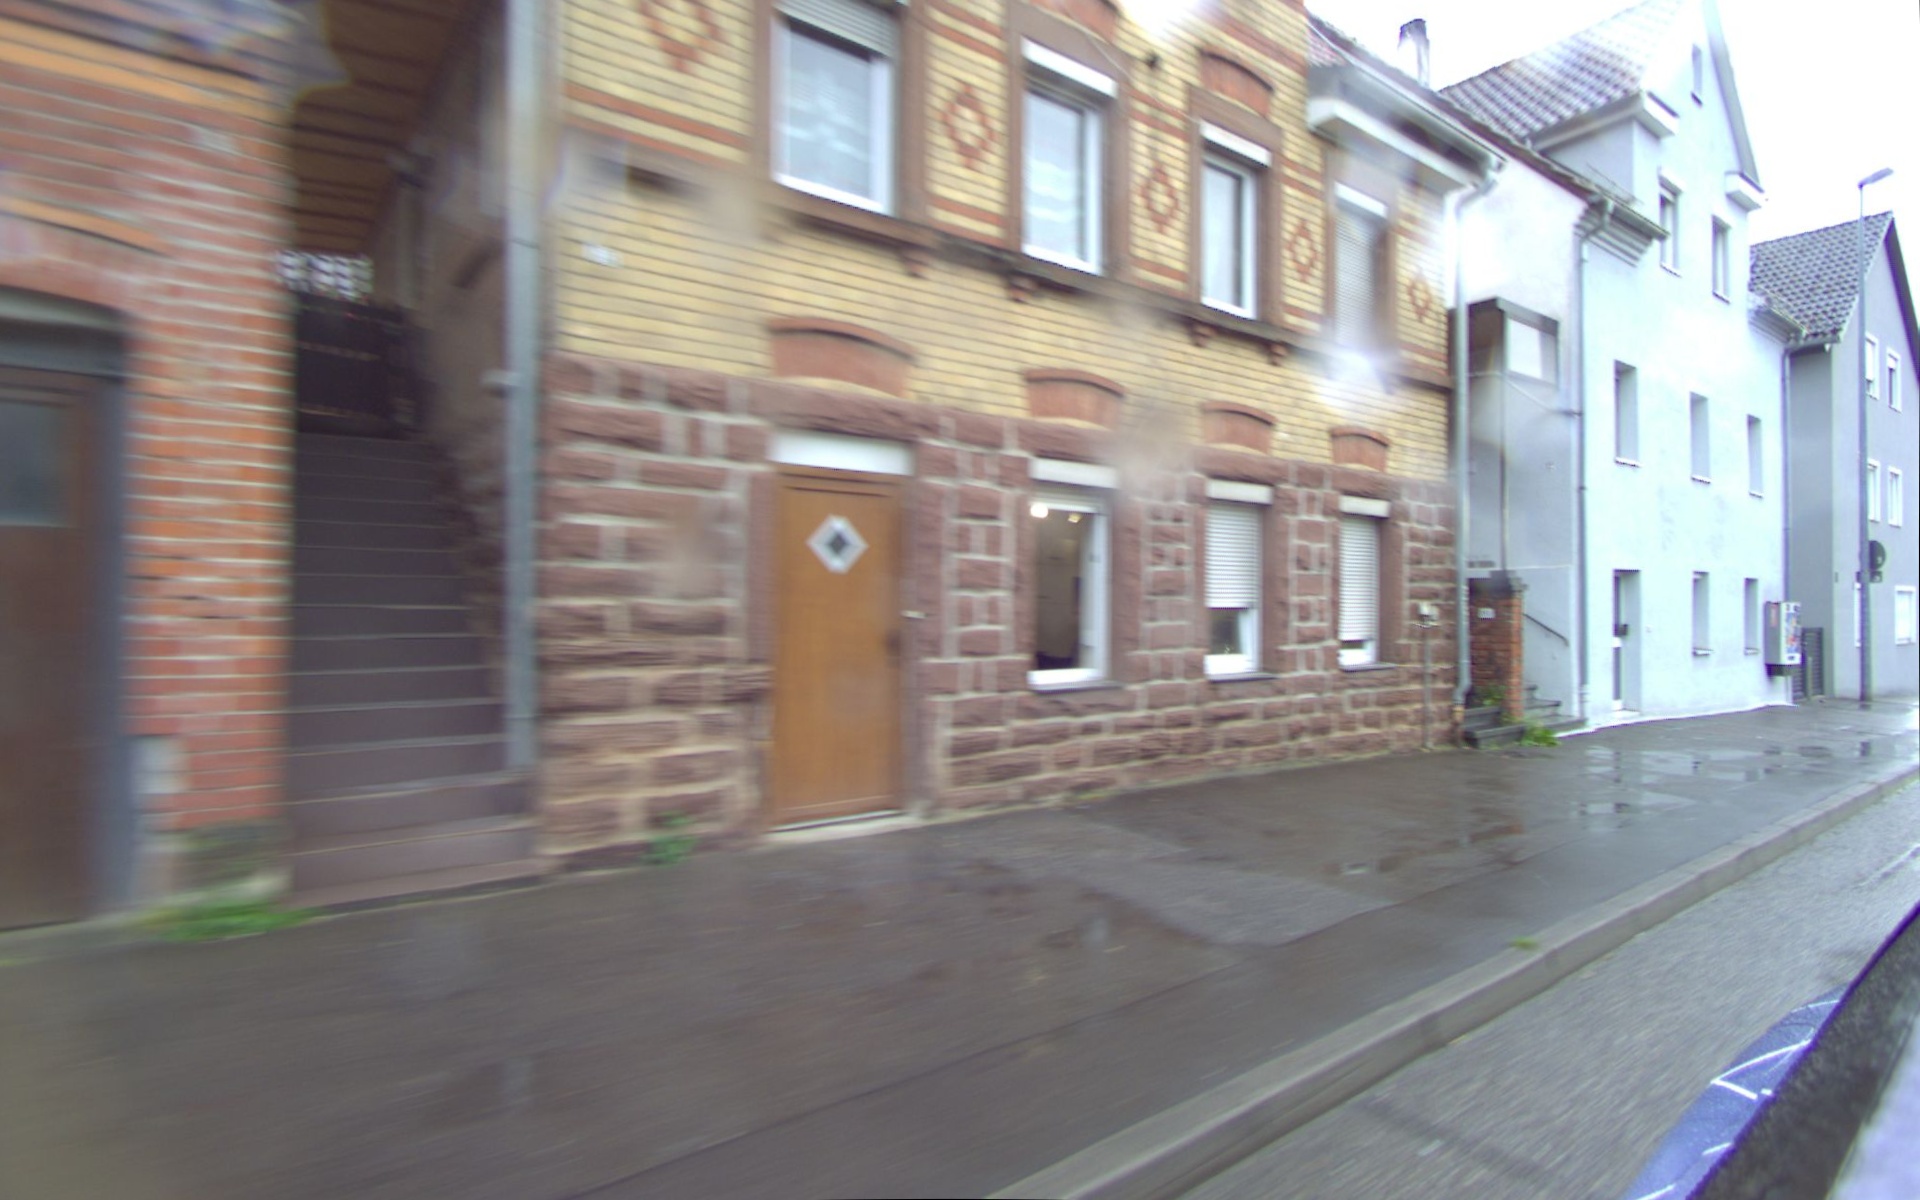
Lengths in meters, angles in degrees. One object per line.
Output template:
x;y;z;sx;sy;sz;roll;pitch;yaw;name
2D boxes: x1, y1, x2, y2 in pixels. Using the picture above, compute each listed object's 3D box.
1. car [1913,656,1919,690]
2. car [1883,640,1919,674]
50.205;3.774;51.624;1.892;1.746;4.399;-1;-4;39;car
58.051;3.525;61.765;2.020;1.962;4.876;-1;-4;37;car
